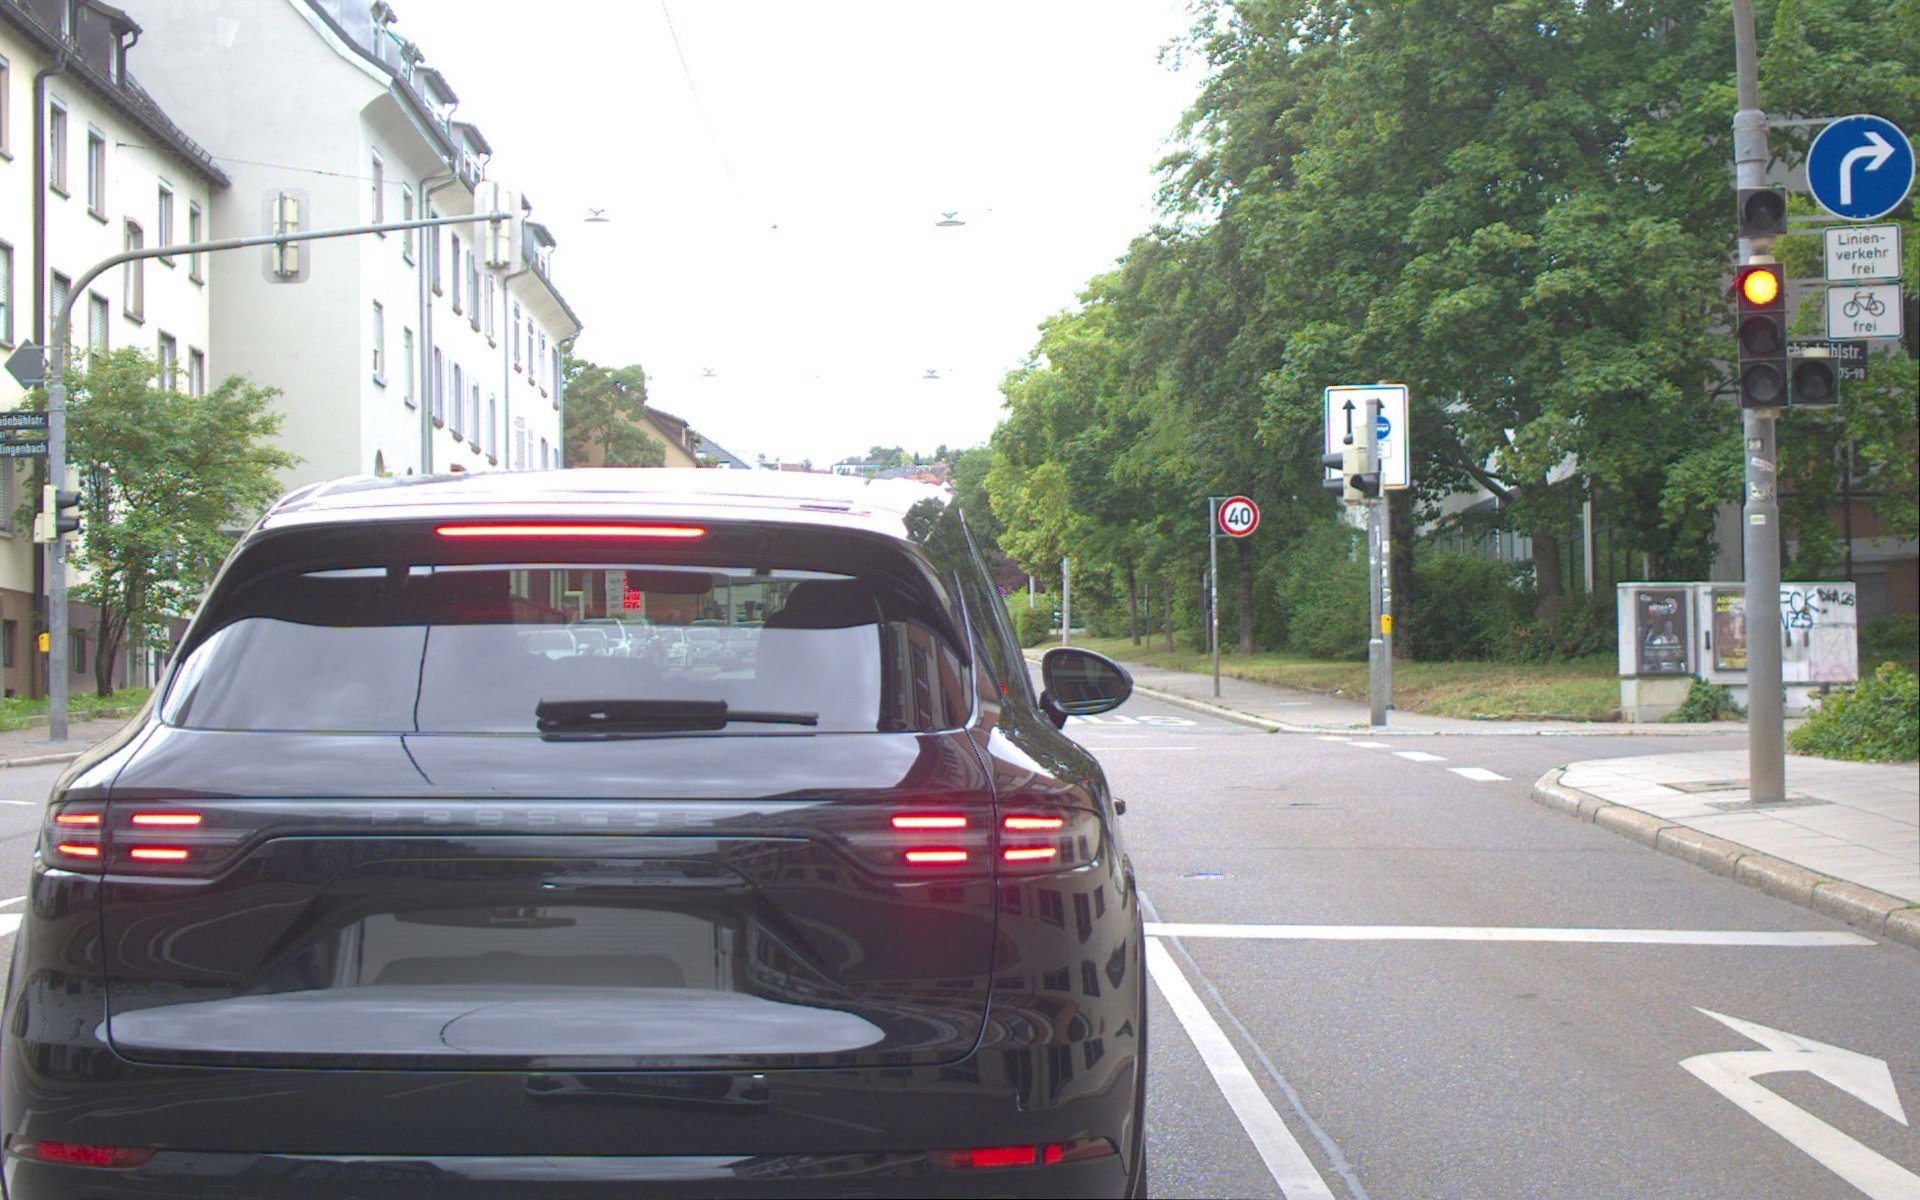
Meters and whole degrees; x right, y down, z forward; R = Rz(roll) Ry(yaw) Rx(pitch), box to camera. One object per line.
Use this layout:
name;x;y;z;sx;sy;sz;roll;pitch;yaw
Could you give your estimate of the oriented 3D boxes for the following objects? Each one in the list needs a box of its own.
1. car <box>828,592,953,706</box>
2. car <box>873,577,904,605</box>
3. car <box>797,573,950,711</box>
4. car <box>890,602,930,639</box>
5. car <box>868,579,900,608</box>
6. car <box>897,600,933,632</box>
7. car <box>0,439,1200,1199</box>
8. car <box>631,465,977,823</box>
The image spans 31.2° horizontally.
car;-1.034;0.716;52.545;1.827;1.599;3.859;1;1;0
car;-4.364;-0.545;210.275;1.827;1.599;4.135;1;1;0
car;-1.060;0.493;43.826;1.827;1.599;4.135;1;1;0
car;-2.362;0.959;163.314;1.827;1.599;4.135;1;1;0
car;-4.463;-0.391;202.950;1.827;1.599;4.135;1;1;0
car;-2.369;0.849;182.490;1.827;1.599;4.135;1;1;0
car;-0.693;0.566;7.254;2.048;1.660;4.267;1;1;0
car;-0.912;0.217;21.902;1.965;2.035;4.135;1;1;0
